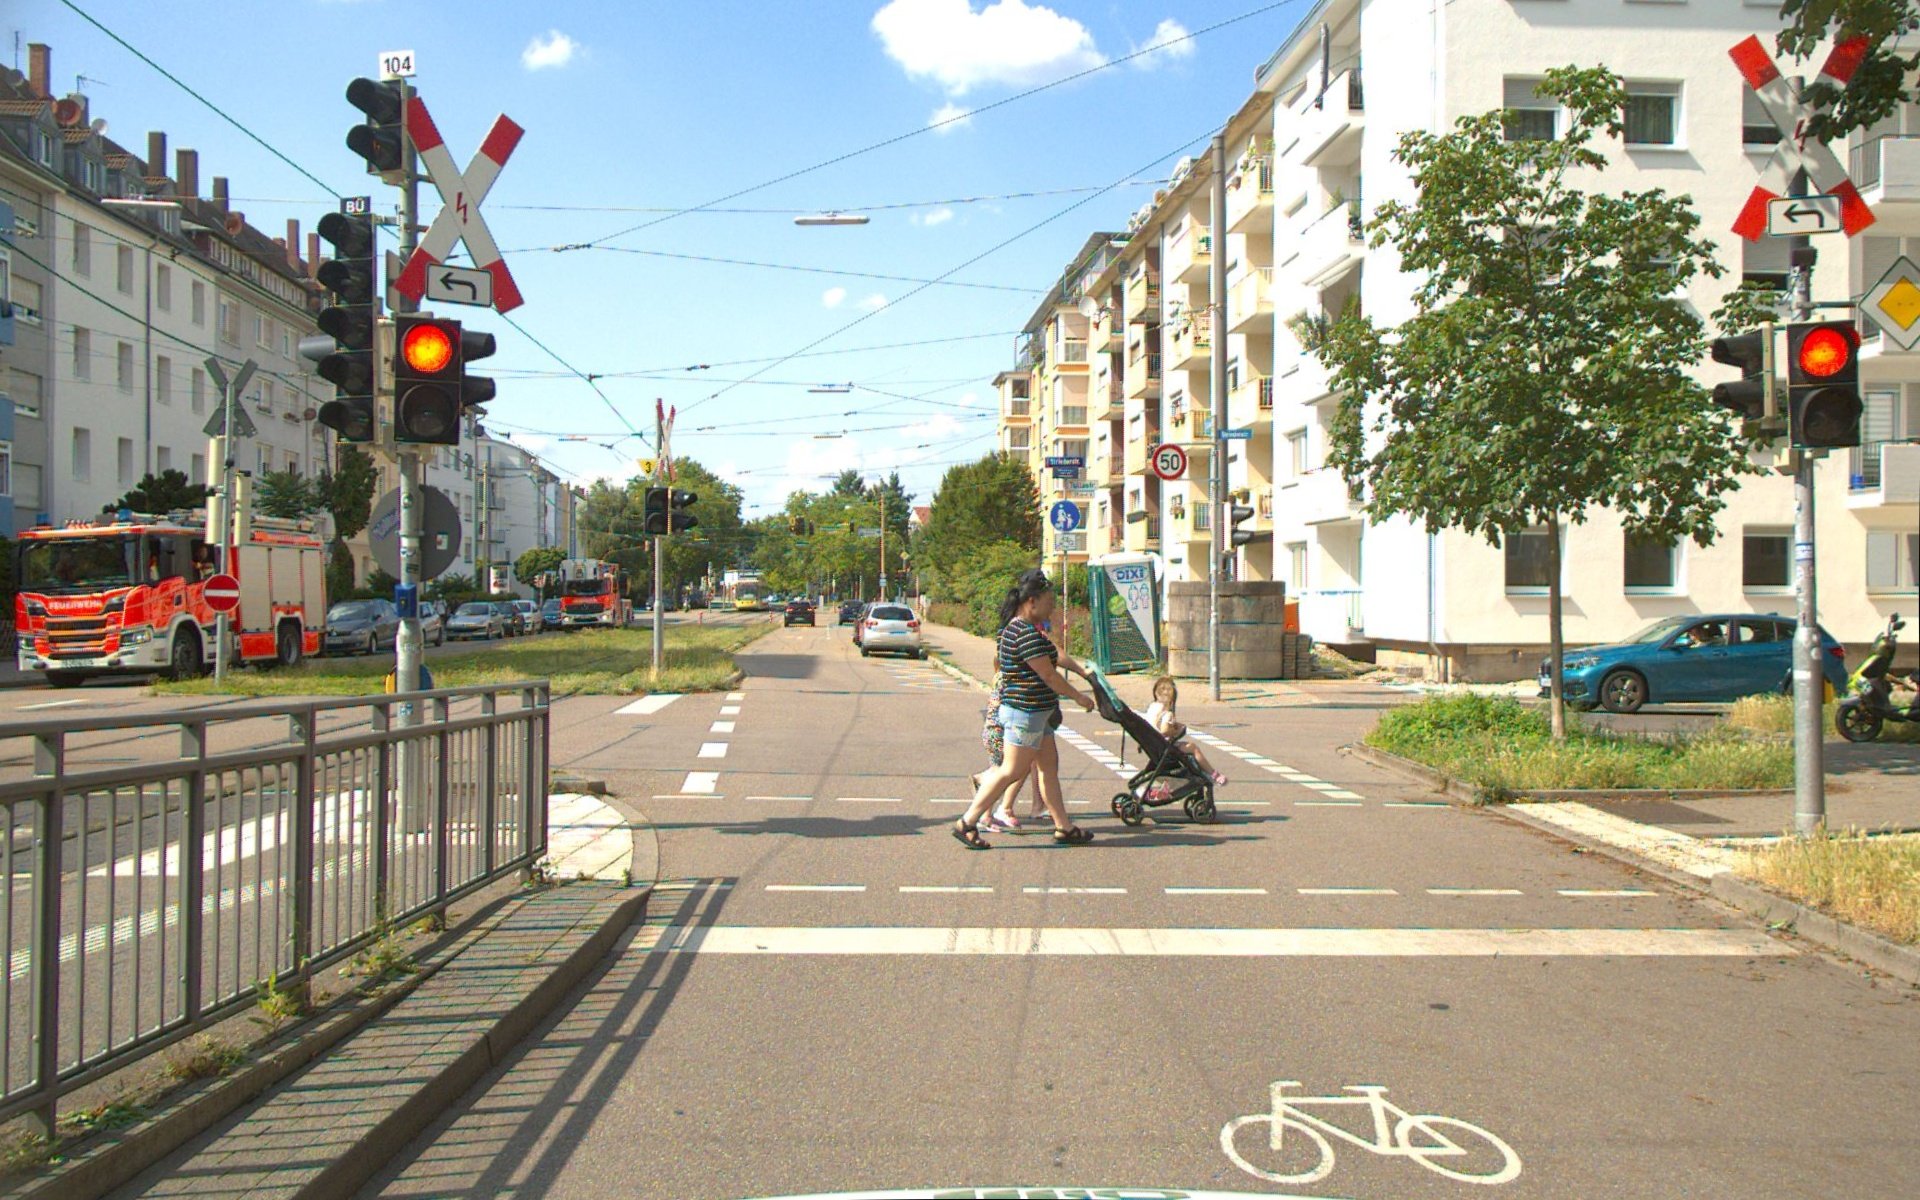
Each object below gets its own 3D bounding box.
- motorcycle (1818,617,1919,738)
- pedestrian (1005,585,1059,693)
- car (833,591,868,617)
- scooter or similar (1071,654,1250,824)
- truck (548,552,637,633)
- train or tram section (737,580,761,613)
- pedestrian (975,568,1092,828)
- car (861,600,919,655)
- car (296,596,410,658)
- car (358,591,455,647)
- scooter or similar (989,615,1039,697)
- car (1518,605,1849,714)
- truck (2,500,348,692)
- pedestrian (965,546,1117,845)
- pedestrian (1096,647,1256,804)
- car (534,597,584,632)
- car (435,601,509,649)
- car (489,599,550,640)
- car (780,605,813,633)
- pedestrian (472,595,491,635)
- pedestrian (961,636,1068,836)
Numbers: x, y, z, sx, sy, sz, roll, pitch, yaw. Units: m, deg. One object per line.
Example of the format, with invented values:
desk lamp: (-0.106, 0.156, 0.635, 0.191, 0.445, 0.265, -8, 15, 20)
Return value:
motorcycle: (10.222, 0.815, 17.615, 0.565, 1.236, 1.826, -5, 1, -32)
pedestrian: (1.242, 0.658, 28.331, 0.686, 1.821, 1.031, 0, 0, 16)
car: (-6.627, 0.261, 100.458, 1.707, 1.533, 4.001, 1, 0, 2)
scooter or similar: (1.340, 0.921, 11.159, 1.078, 1.074, 0.650, 1, -1, -4)
truck: (-17.357, -0.312, 78.767, 2.614, 3.531, 10.159, 1, 0, -4)
train or tram section: (-20.974, -0.330, 164.457, 2.215, 3.122, 8.122, 0, 0, -6)
pedestrian: (0.486, 0.642, 11.138, 0.691, 1.677, 0.636, 2, -1, -2)
car: (-2.053, 0.782, 48.225, 1.590, 1.490, 3.508, 1, 0, -3)
car: (-17.603, 0.761, 48.178, 1.954, 1.674, 3.998, 1, 0, -3)
car: (-18.105, 0.610, 54.269, 1.954, 1.741, 3.998, 1, 0, -3)
scooter or similar: (0.909, 0.918, 27.567, 0.648, 1.326, 0.869, 0, 0, 15)
car: (10.562, 0.848, 24.324, 4.081, 1.438, 1.780, 2, -1, -1)
truck: (-15.038, -0.034, 32.611, 2.542, 3.241, 8.384, 1, 0, 2)
pedestrian: (0.464, 0.546, 9.824, 0.828, 1.697, 0.798, 0, -1, -2)
pedestrian: (3.172, 1.808, 25.026, 1.952, 2.049, 4.001, 1, -1, 1)
car: (-20.563, 0.740, 84.886, 1.873, 1.741, 3.996, 2, 0, -5)
car: (-18.893, 0.952, 64.168, 1.955, 1.741, 3.995, 2, 0, -5)
car: (-19.946, 0.878, 75.014, 1.954, 1.741, 3.996, 2, 0, -5)
car: (-9.161, 1.054, 92.955, 1.709, 1.533, 3.997, 2, 0, -4)
pedestrian: (-21.747, 0.684, 75.180, 0.691, 1.825, 0.864, 0, 0, -5)
pedestrian: (0.335, 0.841, 10.502, 0.624, 1.201, 0.798, 0, -1, -2)
